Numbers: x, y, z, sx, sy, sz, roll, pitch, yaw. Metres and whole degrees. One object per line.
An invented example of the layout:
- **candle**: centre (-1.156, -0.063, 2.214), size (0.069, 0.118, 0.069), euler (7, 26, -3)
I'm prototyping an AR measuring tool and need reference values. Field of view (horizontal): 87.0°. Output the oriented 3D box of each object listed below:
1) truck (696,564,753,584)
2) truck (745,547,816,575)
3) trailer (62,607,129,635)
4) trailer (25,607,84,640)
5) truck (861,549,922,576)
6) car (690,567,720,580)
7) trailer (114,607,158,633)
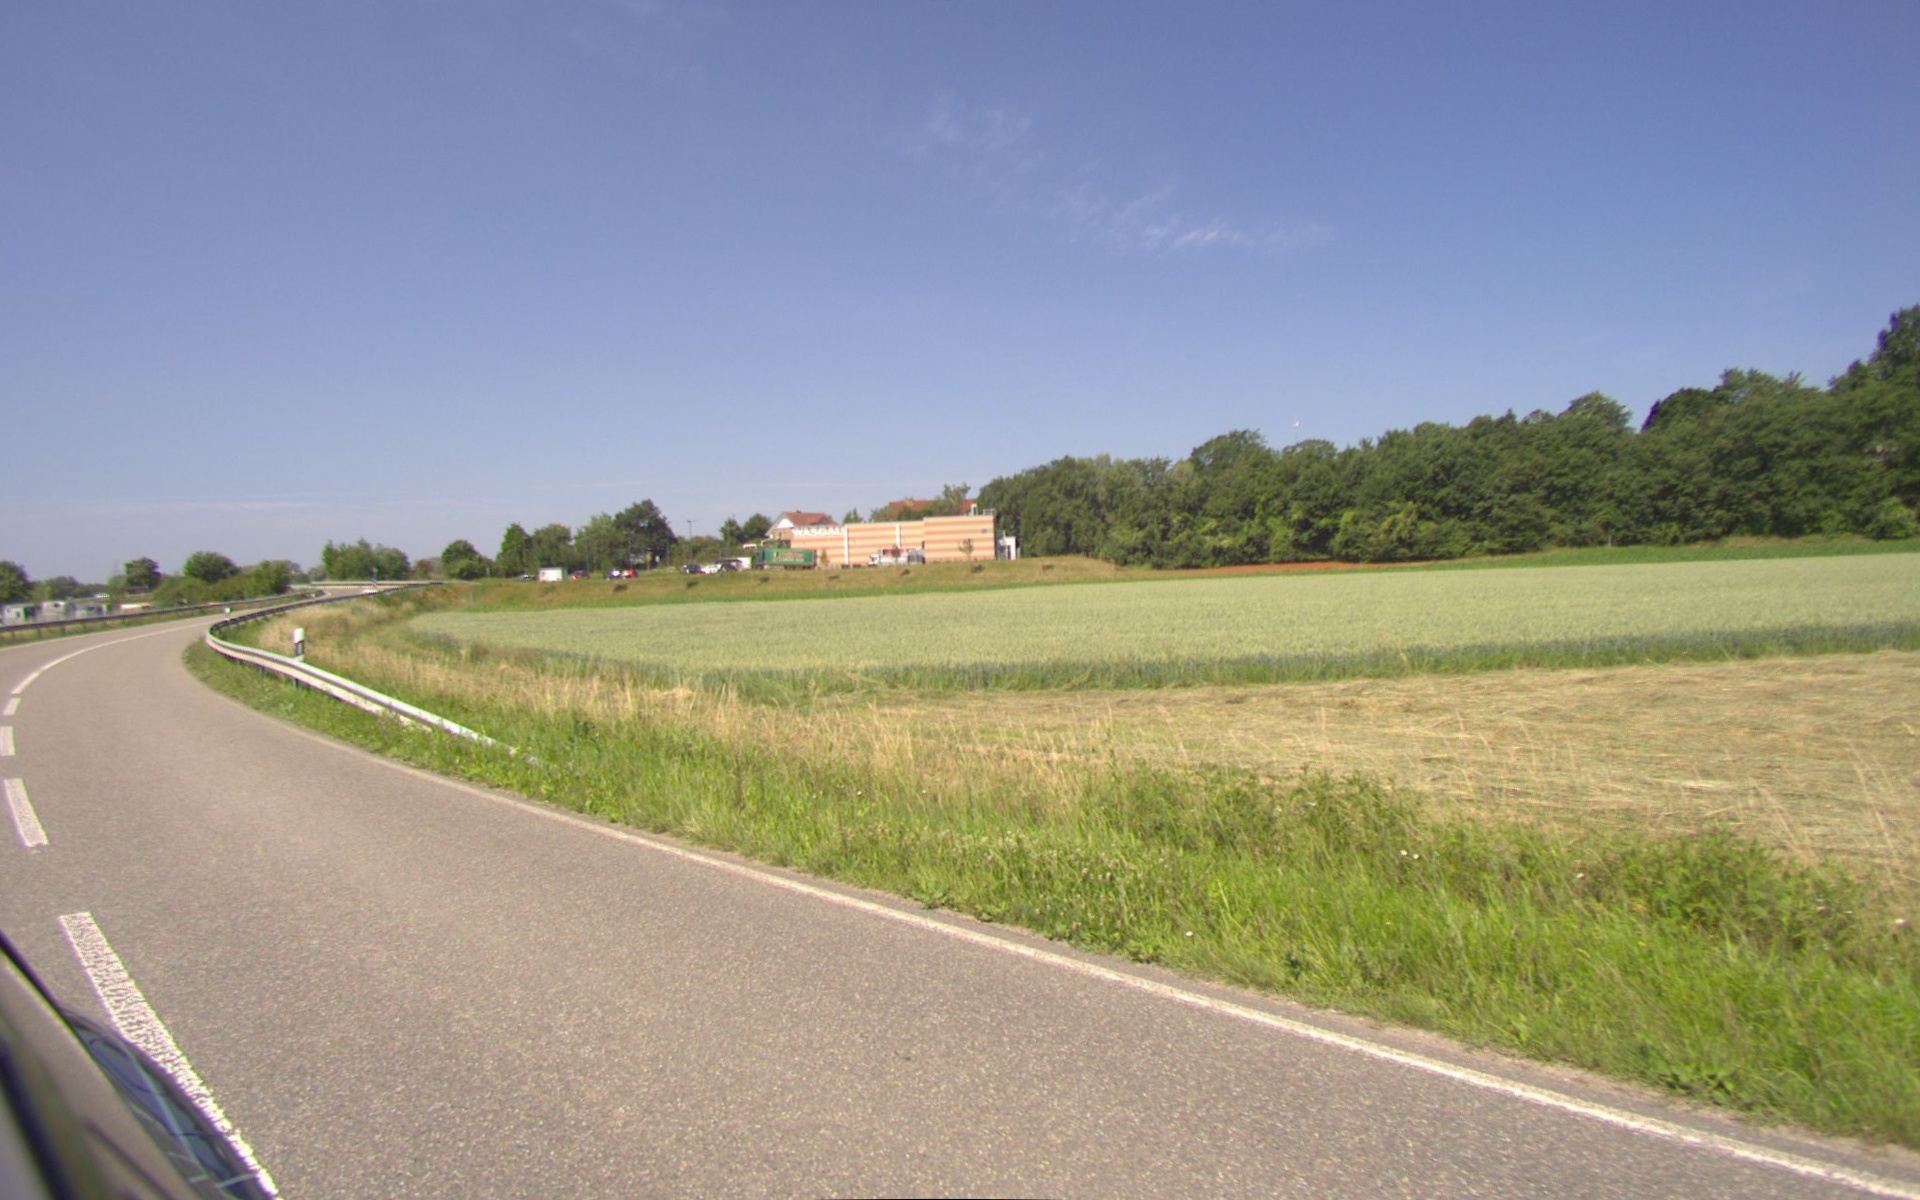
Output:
- **truck**: centre (-45.937, -5.070, 197.645), size (10.542, 3.214, 2.455), euler (-4, 4, -15)
- **truck**: centre (-26.351, -5.727, 148.909), size (9.816, 3.502, 2.876), euler (-3, 4, 5)
- **trailer**: centre (-92.333, 2.234, 108.096), size (5.114, 2.708, 2.209), euler (-3, 1, -1)
- **trailer**: centre (-86.030, 2.222, 96.152), size (5.013, 2.886, 2.217), euler (-2, 1, 24)
- **truck**: centre (-10.248, -5.689, 152.059), size (8.761, 3.589, 2.878), euler (-3, 4, 1)
- **car**: centre (-41.170, -4.255, 163.372), size (4.272, 1.716, 2.001), euler (-3, 4, 0)
- **trailer**: centre (-99.353, 2.366, 122.058), size (3.370, 2.826, 2.167), euler (-3, 2, -3)
